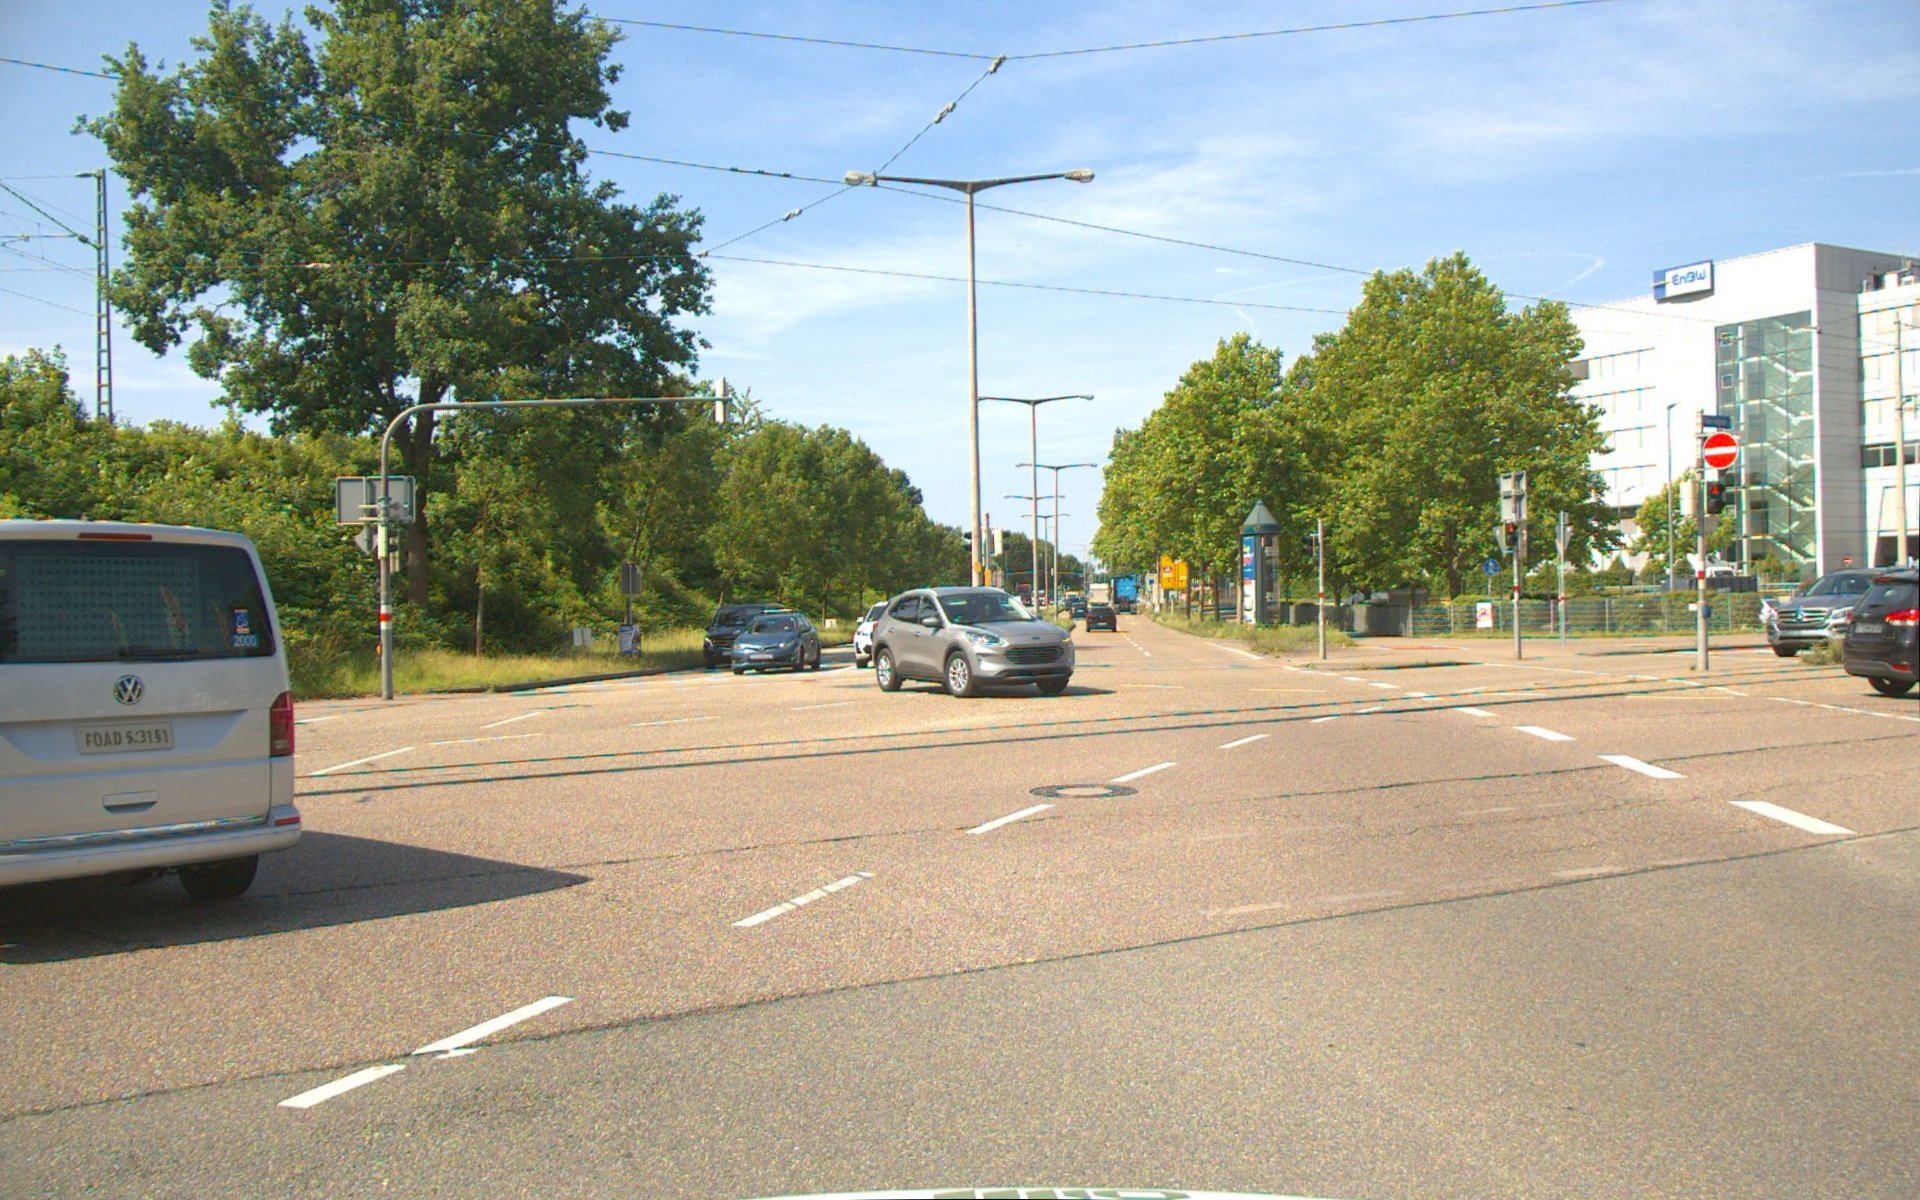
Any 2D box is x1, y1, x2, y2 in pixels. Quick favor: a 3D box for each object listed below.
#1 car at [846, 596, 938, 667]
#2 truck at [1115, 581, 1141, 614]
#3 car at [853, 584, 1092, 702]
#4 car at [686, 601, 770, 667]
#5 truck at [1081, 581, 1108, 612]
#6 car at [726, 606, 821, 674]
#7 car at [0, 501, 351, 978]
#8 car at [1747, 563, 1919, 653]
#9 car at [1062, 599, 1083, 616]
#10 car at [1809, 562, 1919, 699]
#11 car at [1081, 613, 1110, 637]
[{"bbox_3d":[-1.736,0.783,43.503,1.869,1.718,4.629,-2,0,4],"label":"car"},{"bbox_3d":[23.789,-0.332,233.992,3.123,4.431,13.157,-2,0,7],"label":"truck"},{"bbox_3d":[0.079,0.651,26.522,1.967,1.679,4.616,-1,0,-26],"label":"car"},{"bbox_3d":[-6.988,0.993,50.150,1.811,1.846,4.001,-2,0,2],"label":"car"},{"bbox_3d":[16.374,-0.454,200.679,2.781,3.640,8.726,-2,0,7],"label":"truck"},{"bbox_3d":[-4.698,0.975,42.140,1.811,1.589,4.001,-2,0,2],"label":"car"},{"bbox_3d":[-5.440,0.609,9.090,4.934,2.006,1.936,-1,0,43],"label":"car"},{"bbox_3d":[18.551,0.137,34.309,4.568,1.718,1.894,-1,0,-33],"label":"car"},{"bbox_3d":[9.789,0.628,143.774,1.712,1.368,4.381,-2,0,5],"label":"car"},{"bbox_3d":[13.267,0.313,20.736,4.273,1.633,1.815,-2,0,2],"label":"car"},{"bbox_3d":[7.708,1.413,94.065,1.608,1.258,3.255,-2,0,5],"label":"car"}]
